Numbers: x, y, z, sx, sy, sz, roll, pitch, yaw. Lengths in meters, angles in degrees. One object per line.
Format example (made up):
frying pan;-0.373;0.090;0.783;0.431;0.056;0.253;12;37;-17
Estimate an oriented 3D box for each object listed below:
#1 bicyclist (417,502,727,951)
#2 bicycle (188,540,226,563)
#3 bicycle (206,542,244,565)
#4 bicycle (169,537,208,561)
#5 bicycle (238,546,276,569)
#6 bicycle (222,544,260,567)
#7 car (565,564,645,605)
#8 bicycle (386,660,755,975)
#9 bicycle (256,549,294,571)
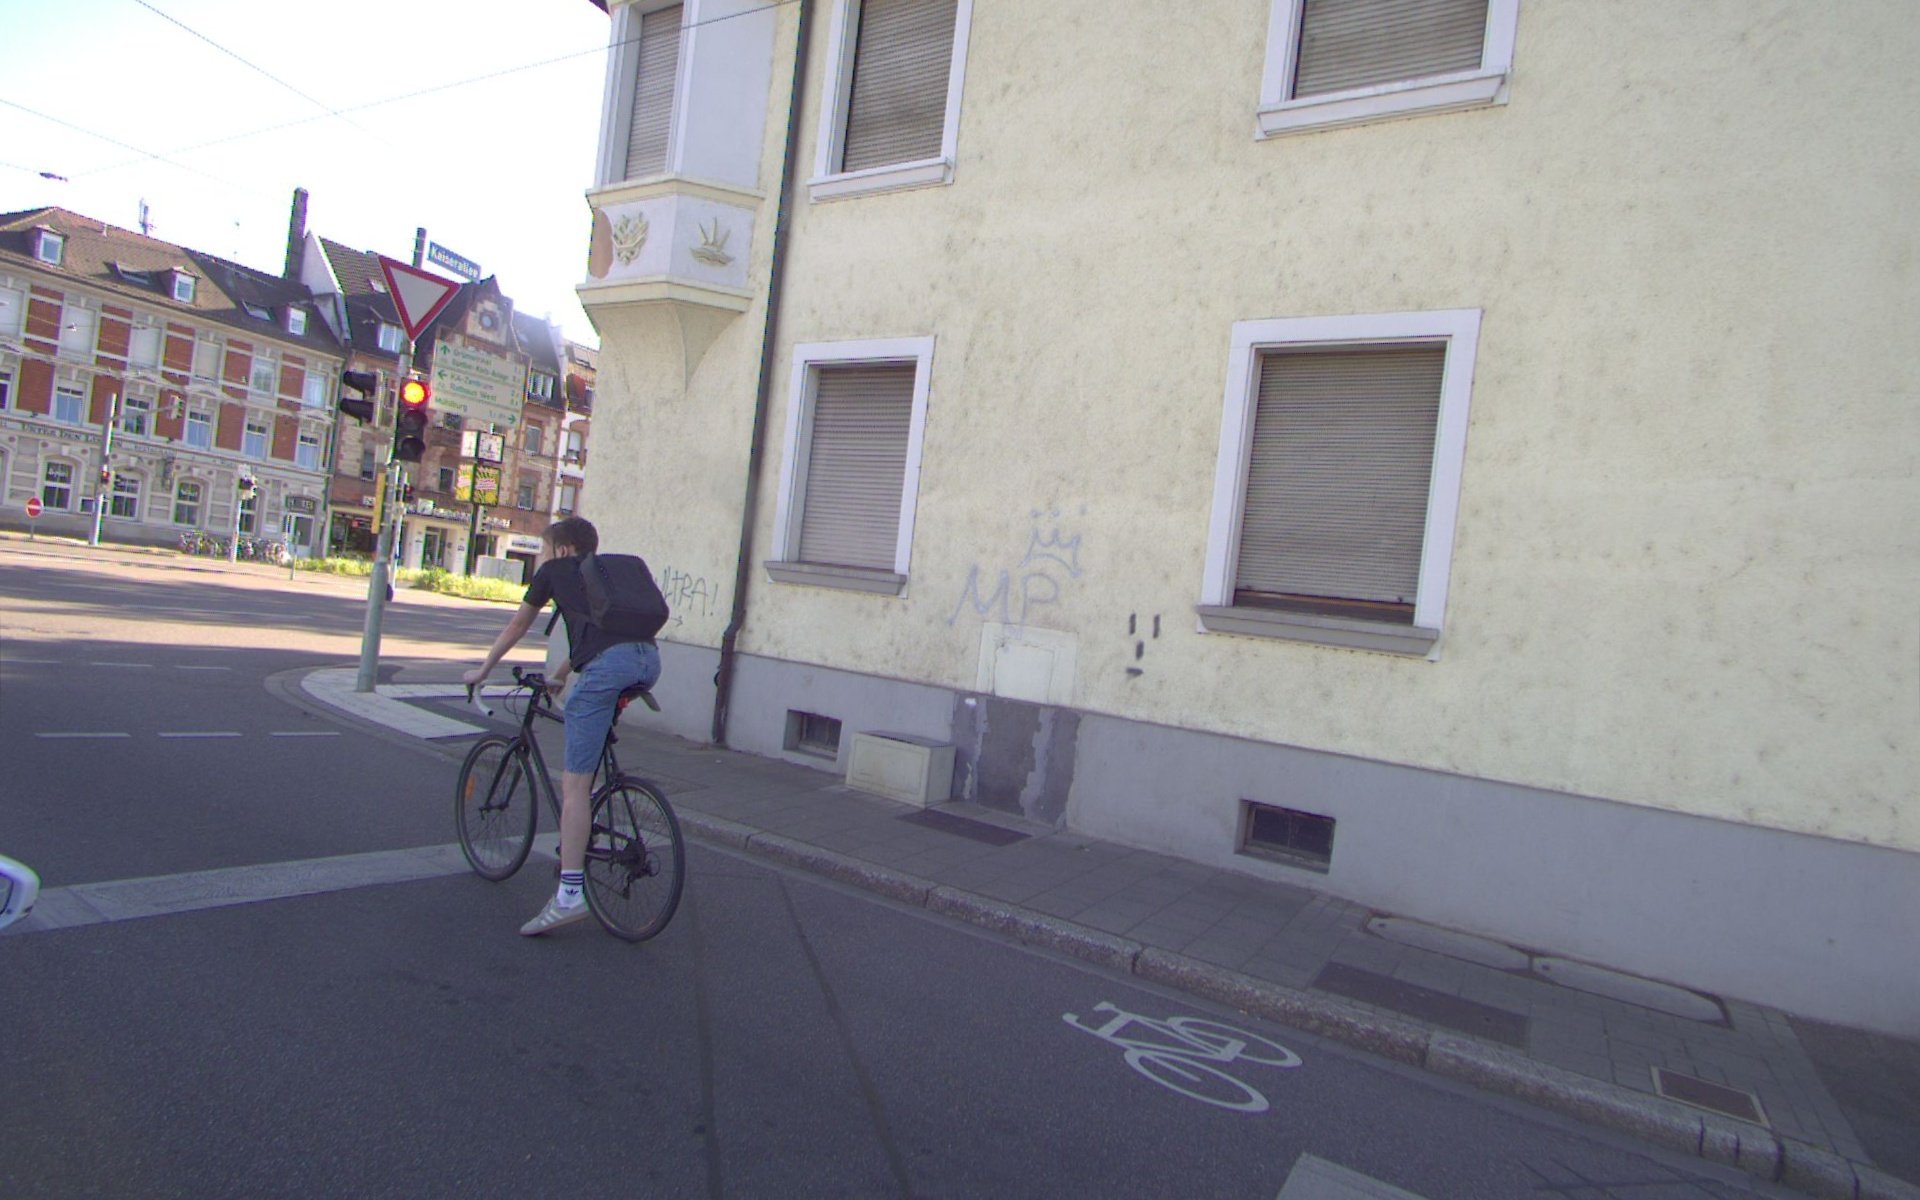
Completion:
bicyclist;-1.738;0.493;4.485;1.098;1.722;0.573;7;0;32
bicycle;-34.548;-2.229;46.144;2.125;0.850;0.659;6;-2;33
bicycle;-34.175;-2.155;46.765;2.125;0.850;0.659;6;-2;33
bicycle;-34.864;-2.298;45.477;2.125;0.850;0.659;6;-2;33
bicycle;-33.485;-2.020;47.892;2.125;0.850;0.659;6;-2;33
bicycle;-33.840;-2.088;47.361;2.125;0.850;0.659;6;-2;33
car;-23.006;-0.999;65.323;1.968;2.038;4.430;7;-1;34
bicycle;-1.786;0.877;4.505;1.721;0.982;0.519;7;0;32
bicycle;-33.097;-1.941;48.597;2.125;0.850;0.659;6;-2;33
